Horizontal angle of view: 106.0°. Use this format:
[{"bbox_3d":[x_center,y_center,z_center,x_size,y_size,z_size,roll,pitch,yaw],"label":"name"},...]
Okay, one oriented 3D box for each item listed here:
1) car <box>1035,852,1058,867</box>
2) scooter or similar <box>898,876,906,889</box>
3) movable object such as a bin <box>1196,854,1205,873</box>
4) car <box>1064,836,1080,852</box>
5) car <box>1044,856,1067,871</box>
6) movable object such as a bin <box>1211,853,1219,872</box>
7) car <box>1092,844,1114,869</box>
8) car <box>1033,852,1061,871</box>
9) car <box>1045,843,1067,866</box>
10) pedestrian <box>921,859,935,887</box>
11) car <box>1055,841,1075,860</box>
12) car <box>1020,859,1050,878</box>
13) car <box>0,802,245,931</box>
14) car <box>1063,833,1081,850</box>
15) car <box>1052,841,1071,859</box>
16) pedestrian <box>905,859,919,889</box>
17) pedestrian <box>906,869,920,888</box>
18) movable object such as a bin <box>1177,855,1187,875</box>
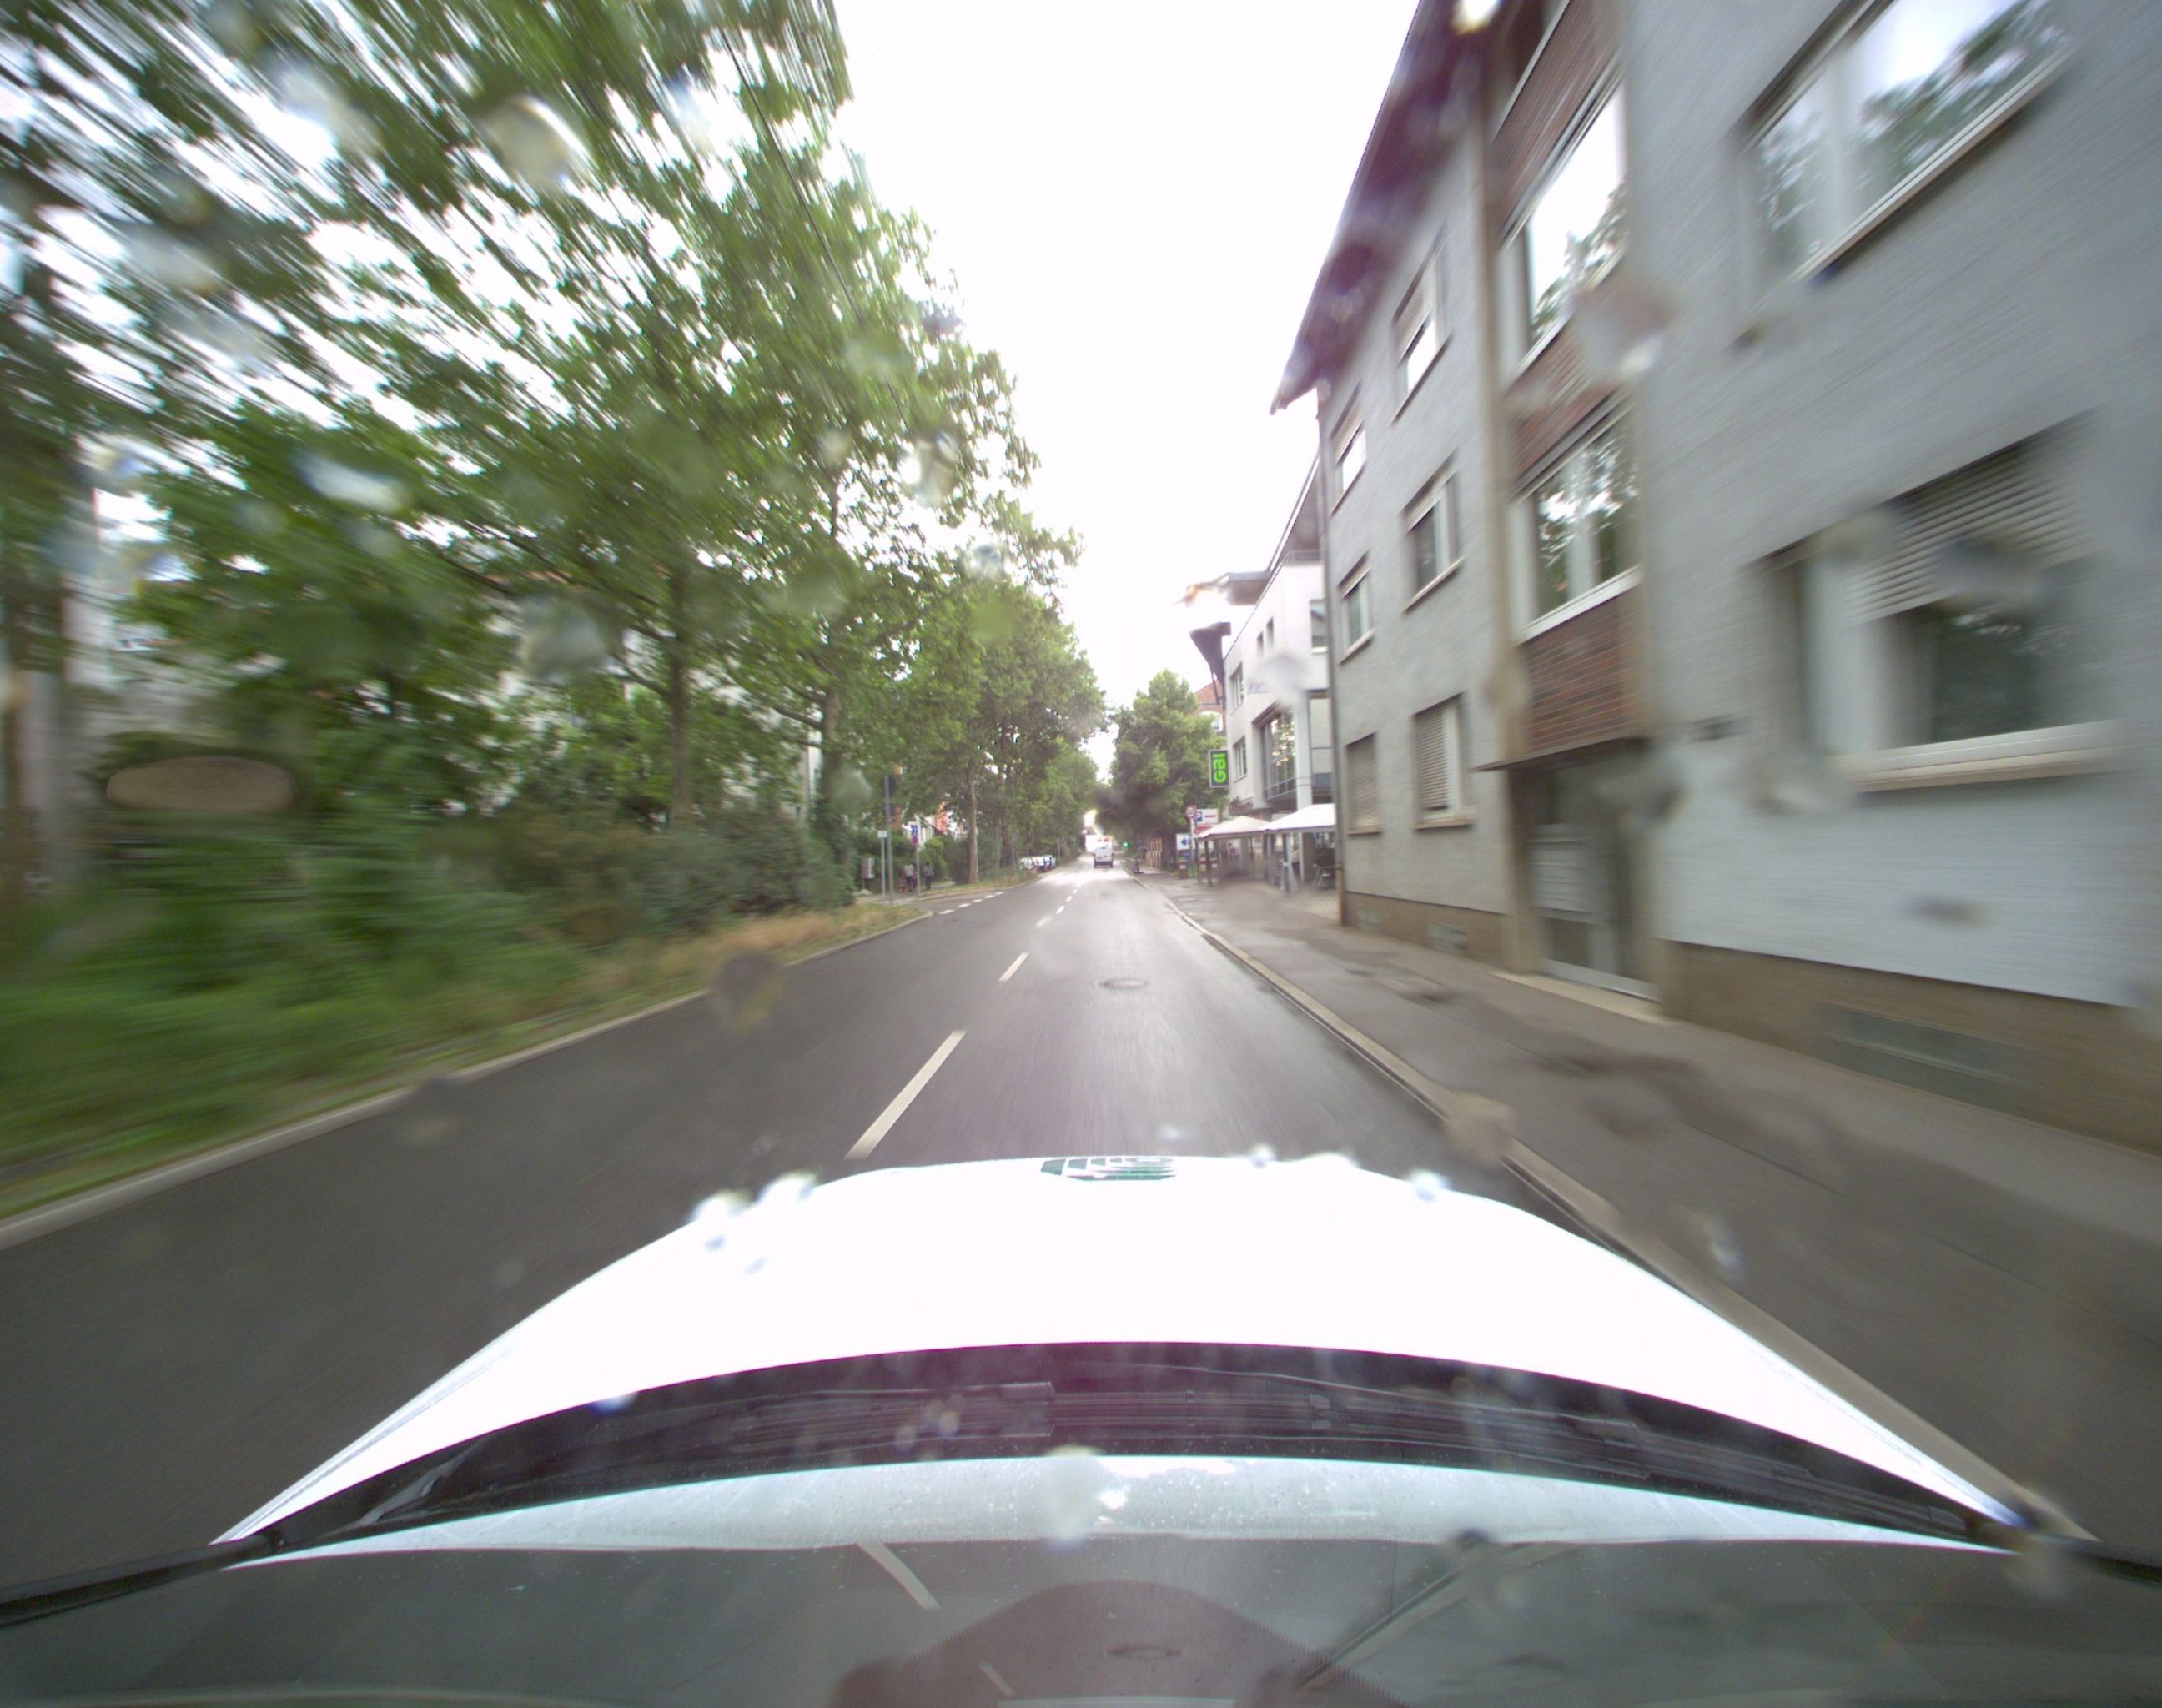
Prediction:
[{"bbox_3d":[-3.694,0.632,88.229,1.986,1.543,4.613,-1,-2,4],"label":"car"},{"bbox_3d":[-9.744,1.545,44.322,0.306,0.681,0.388,0,-2,-1],"label":"scooter or similar"},{"bbox_3d":[6.761,0.542,45.950,0.399,1.067,0.358,-1,-2,-5],"label":"movable object such as a bin"},{"bbox_3d":[-1.388,-1.611,128.400,2.205,2.294,4.614,-1,-2,4],"label":"car"},{"bbox_3d":[-2.893,1.117,94.283,2.206,1.691,4.613,-1,-2,4],"label":"car"},{"bbox_3d":[7.567,0.508,45.977,0.356,1.067,0.358,0,-2,-5],"label":"movable object such as a bin"},{"bbox_3d":[2.455,0.307,88.640,2.274,2.553,4.001,-2,-2,2],"label":"car"},{"bbox_3d":[-3.376,0.761,81.622,2.206,1.729,4.613,-1,-2,4],"label":"car"},{"bbox_3d":[-3.047,0.111,99.255,2.206,2.534,4.613,-1,-2,4],"label":"car"},{"bbox_3d":[-8.812,1.093,46.852,0.679,1.571,0.623,0,-1,-1],"label":"pedestrian"},{"bbox_3d":[-2.032,-0.379,104.407,2.206,2.294,4.613,-1,-2,4],"label":"car"},{"bbox_3d":[-4.172,1.365,75.142,2.206,1.592,4.613,-1,-2,4],"label":"car"},{"bbox_3d":[-15.024,0.203,11.669,3.973,1.671,2.000,0,-2,0],"label":"car"},{"bbox_3d":[-1.318,-1.827,121.106,2.206,2.294,4.613,-1,-3,4],"label":"car"},{"bbox_3d":[-2.726,-0.537,114.475,2.206,2.294,4.614,-1,-1,4],"label":"car"},{"bbox_3d":[-9.219,1.070,44.362,0.637,1.612,0.623,0,-2,-1],"label":"pedestrian"},{"bbox_3d":[-9.540,1.392,46.170,0.679,1.107,0.623,0,-2,-1],"label":"pedestrian"},{"bbox_3d":[5.709,0.625,45.991,0.399,1.066,0.358,-5,-2,-5],"label":"movable object such as a bin"}]
